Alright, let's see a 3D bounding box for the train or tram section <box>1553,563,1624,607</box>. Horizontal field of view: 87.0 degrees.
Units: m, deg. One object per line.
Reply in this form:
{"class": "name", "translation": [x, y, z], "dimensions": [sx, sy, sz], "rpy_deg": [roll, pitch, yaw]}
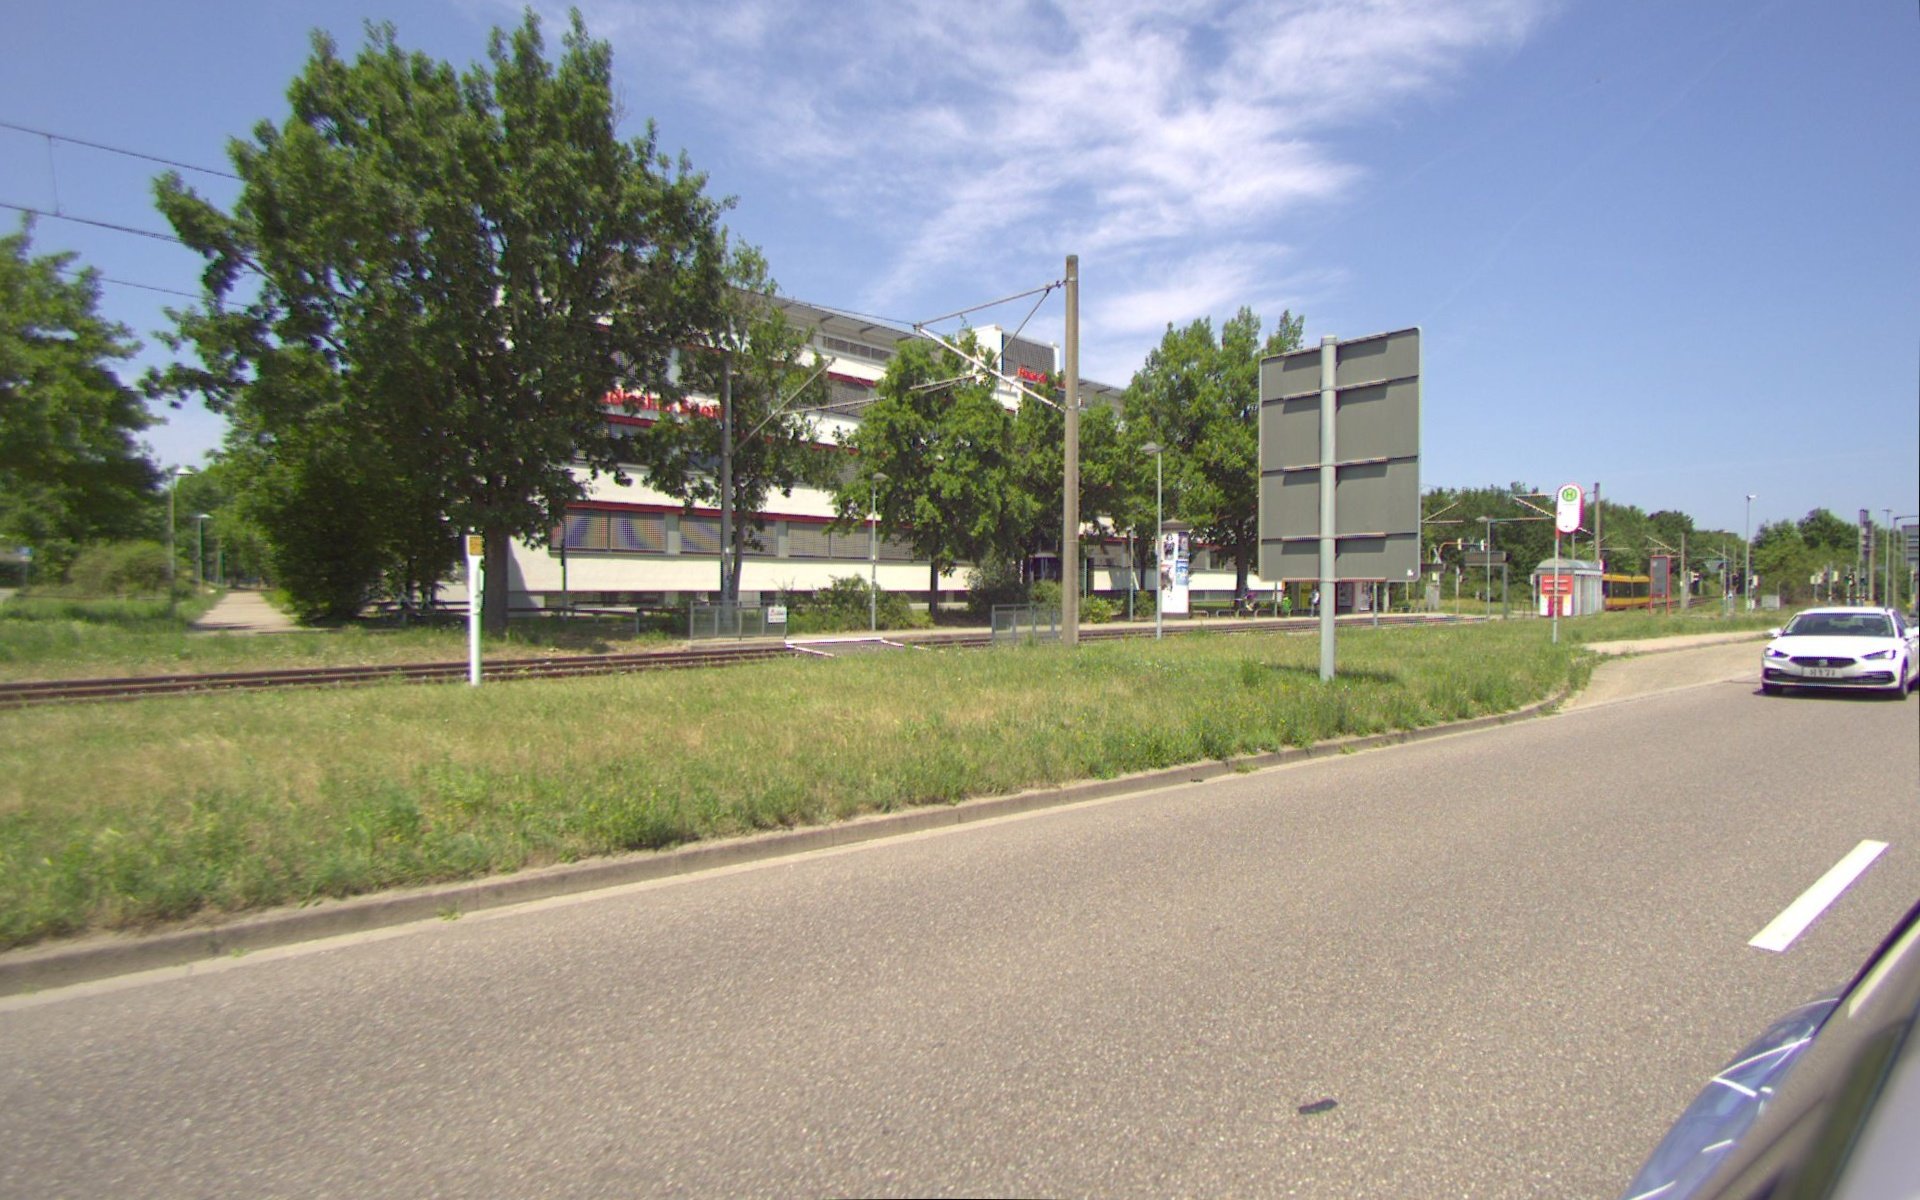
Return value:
{"class": "train or tram section", "translation": [54.825, -1.261, 88.108], "dimensions": [2.814, 3.627, 12.305], "rpy_deg": [0, 1, 43]}

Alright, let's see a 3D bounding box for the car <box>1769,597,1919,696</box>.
{"class": "car", "translation": [15.240, 0.681, 17.090], "dimensions": [4.373, 1.407, 1.686], "rpy_deg": [0, 2, -41]}

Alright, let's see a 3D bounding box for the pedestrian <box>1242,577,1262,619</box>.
{"class": "pedestrian", "translation": [13.372, -0.089, 46.334], "dimensions": [0.691, 1.865, 0.703], "rpy_deg": [-2, -1, 34]}

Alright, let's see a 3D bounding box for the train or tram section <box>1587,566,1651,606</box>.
{"class": "train or tram section", "translation": [63.311, -1.326, 97.062], "dimensions": [2.814, 3.627, 12.302], "rpy_deg": [1, 1, 44]}

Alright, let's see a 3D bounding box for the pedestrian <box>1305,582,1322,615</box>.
{"class": "pedestrian", "translation": [18.063, -0.070, 51.718], "dimensions": [0.678, 1.628, 0.553], "rpy_deg": [-1, -1, -40]}
